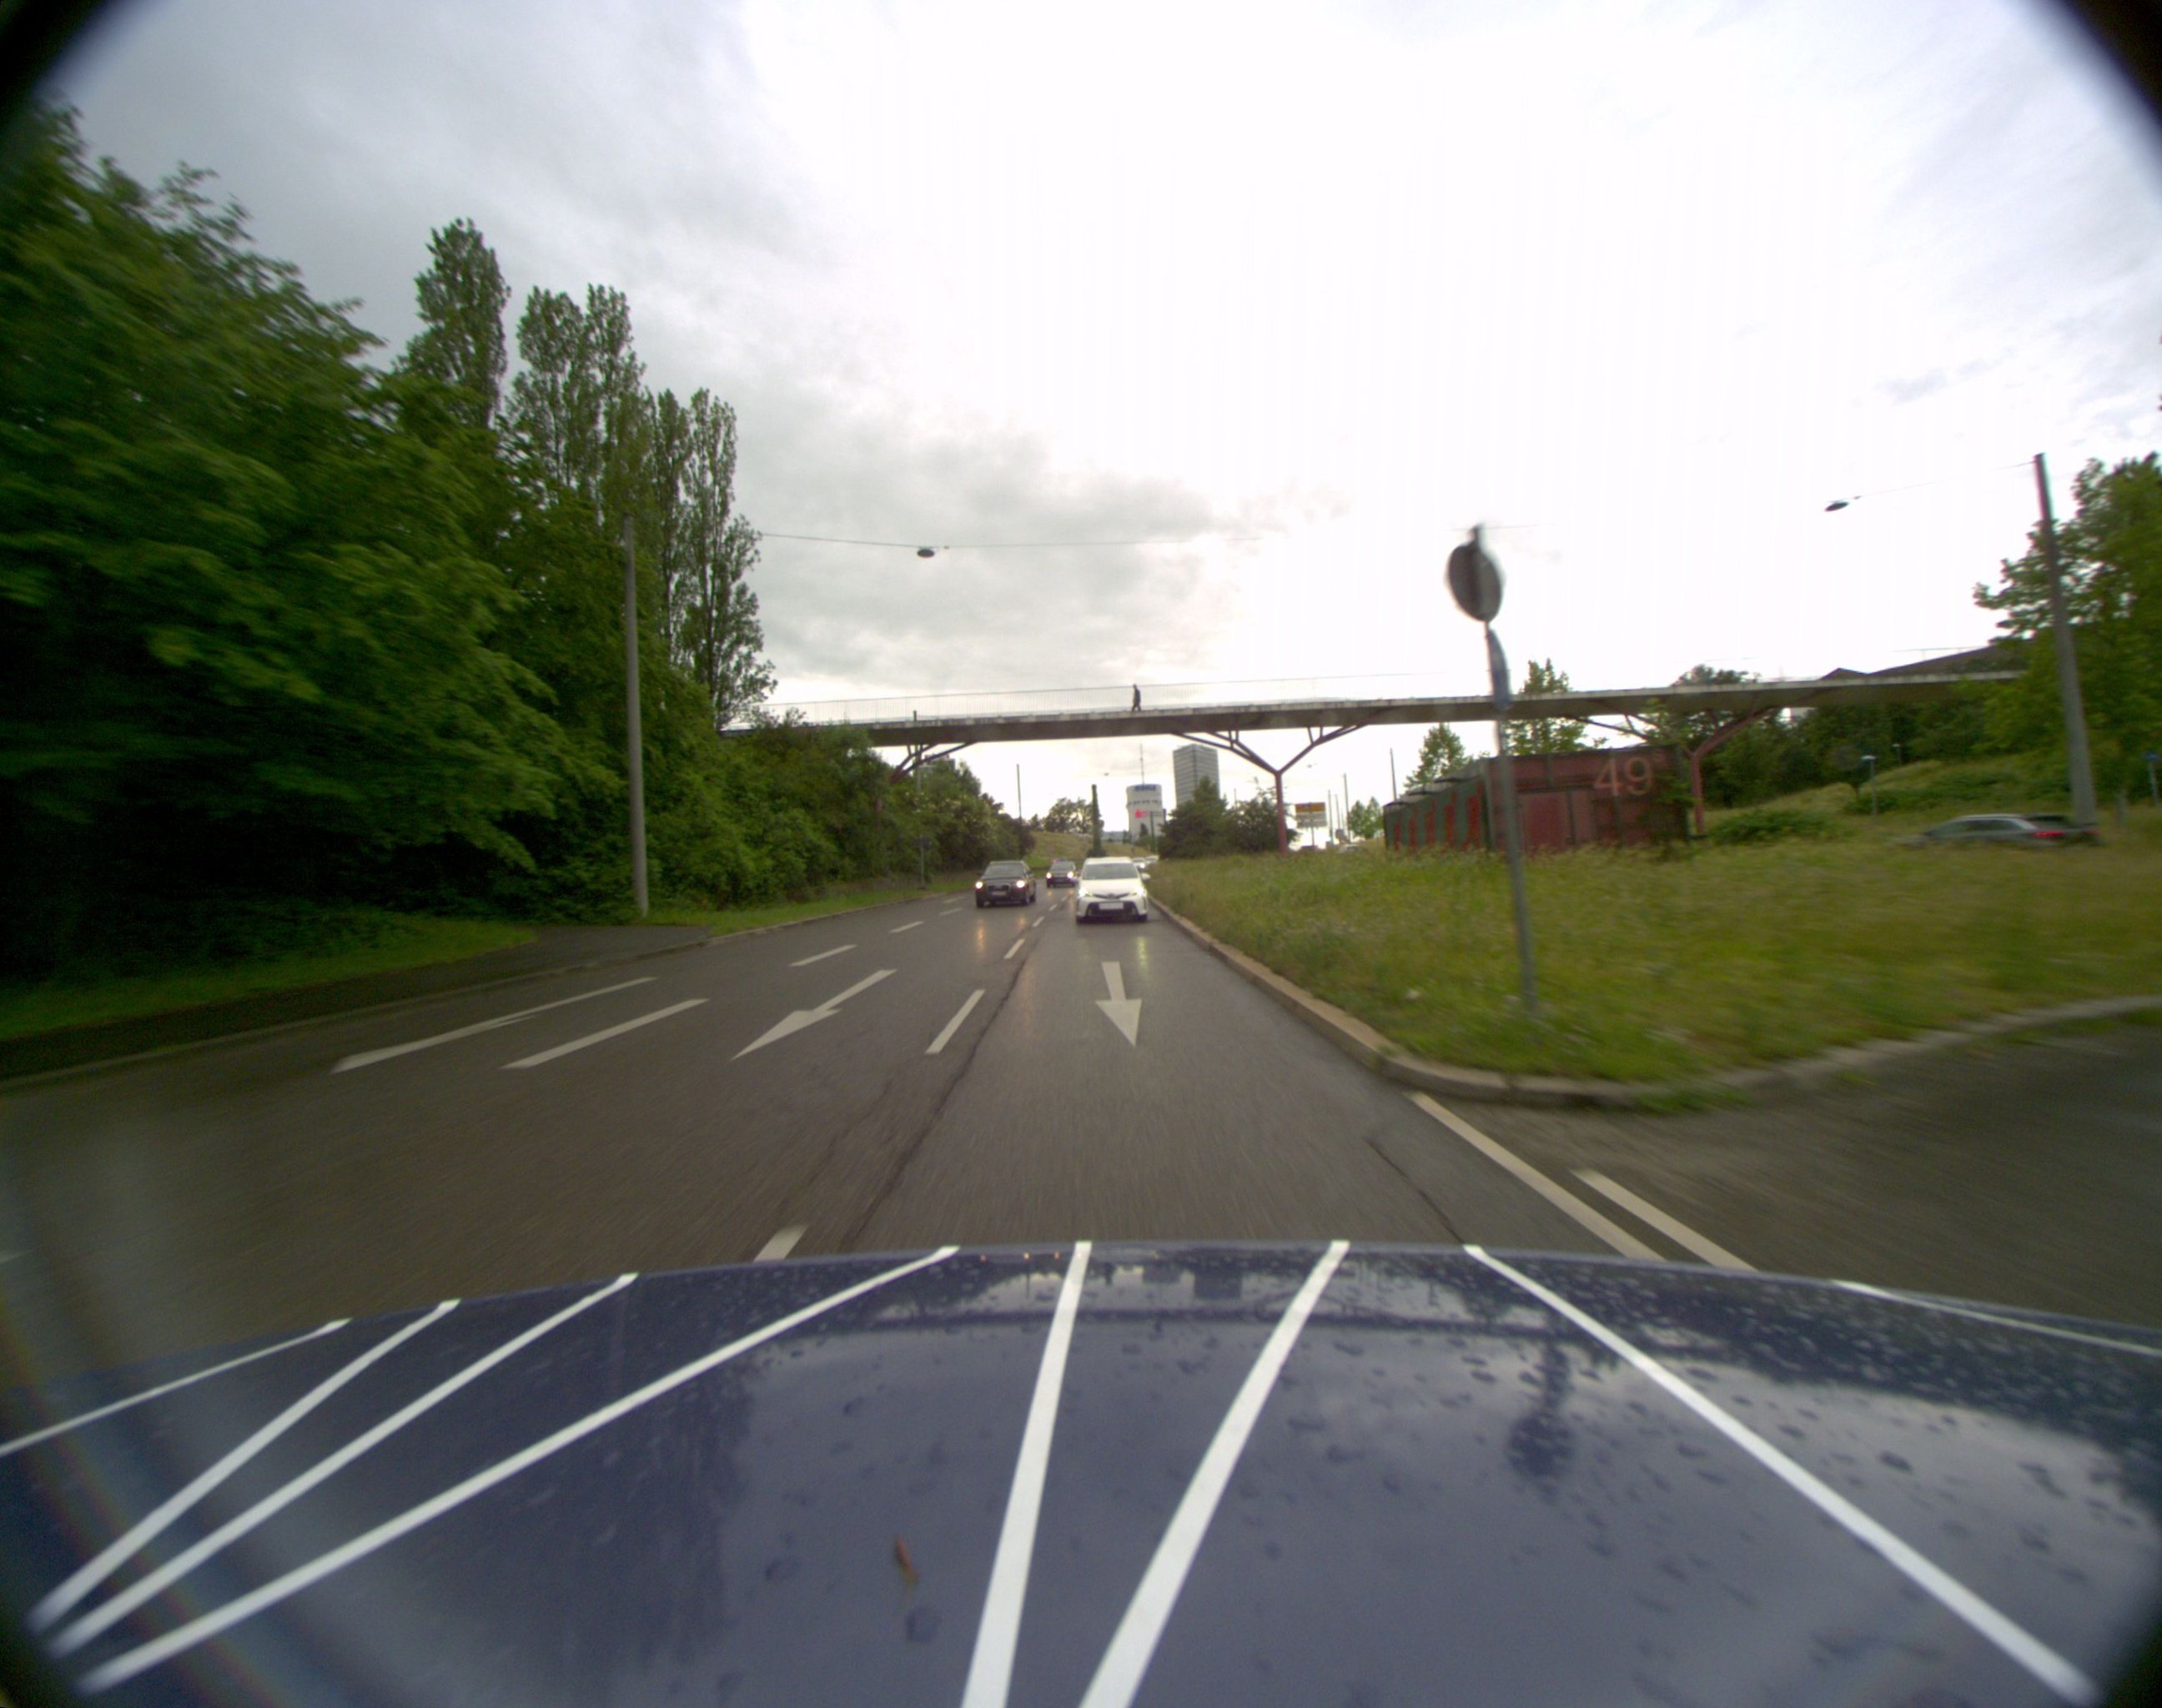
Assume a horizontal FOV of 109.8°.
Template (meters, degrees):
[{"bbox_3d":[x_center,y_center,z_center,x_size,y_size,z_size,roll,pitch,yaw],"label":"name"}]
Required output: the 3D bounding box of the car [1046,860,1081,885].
[{"bbox_3d":[-1.019,1.085,45.905,1.846,1.377,4.000,-3,0,1],"label":"car"}]

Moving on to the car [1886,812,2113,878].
[{"bbox_3d":[25.706,-0.224,21.500,1.661,1.565,3.790,-6,0,-2],"label":"car"}]

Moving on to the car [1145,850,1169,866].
[{"bbox_3d":[8.746,0.437,87.012,1.996,1.761,4.004,-3,0,14],"label":"car"}]

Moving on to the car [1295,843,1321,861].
[{"bbox_3d":[28.202,-0.300,94.479,1.998,2.002,4.001,-6,0,3],"label":"car"}]

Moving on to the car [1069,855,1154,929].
[{"bbox_3d":[0.866,0.906,20.010,1.924,1.604,4.376,-3,0,4],"label":"car"}]

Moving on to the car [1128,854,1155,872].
[{"bbox_3d":[6.160,0.877,77.098,1.996,1.761,4.005,-2,-1,16],"label":"car"}]

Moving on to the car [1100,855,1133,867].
[{"bbox_3d":[5.887,1.157,125.654,4.998,1.636,2.070,-4,0,-36],"label":"car"}]

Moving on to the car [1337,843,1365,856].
[{"bbox_3d":[24.392,-0.430,68.667,1.269,0.939,3.084,-6,3,-2],"label":"car"}]

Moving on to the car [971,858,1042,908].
[{"bbox_3d":[-2.634,0.997,27.923,1.927,1.591,4.280,-3,0,2],"label":"car"}]
